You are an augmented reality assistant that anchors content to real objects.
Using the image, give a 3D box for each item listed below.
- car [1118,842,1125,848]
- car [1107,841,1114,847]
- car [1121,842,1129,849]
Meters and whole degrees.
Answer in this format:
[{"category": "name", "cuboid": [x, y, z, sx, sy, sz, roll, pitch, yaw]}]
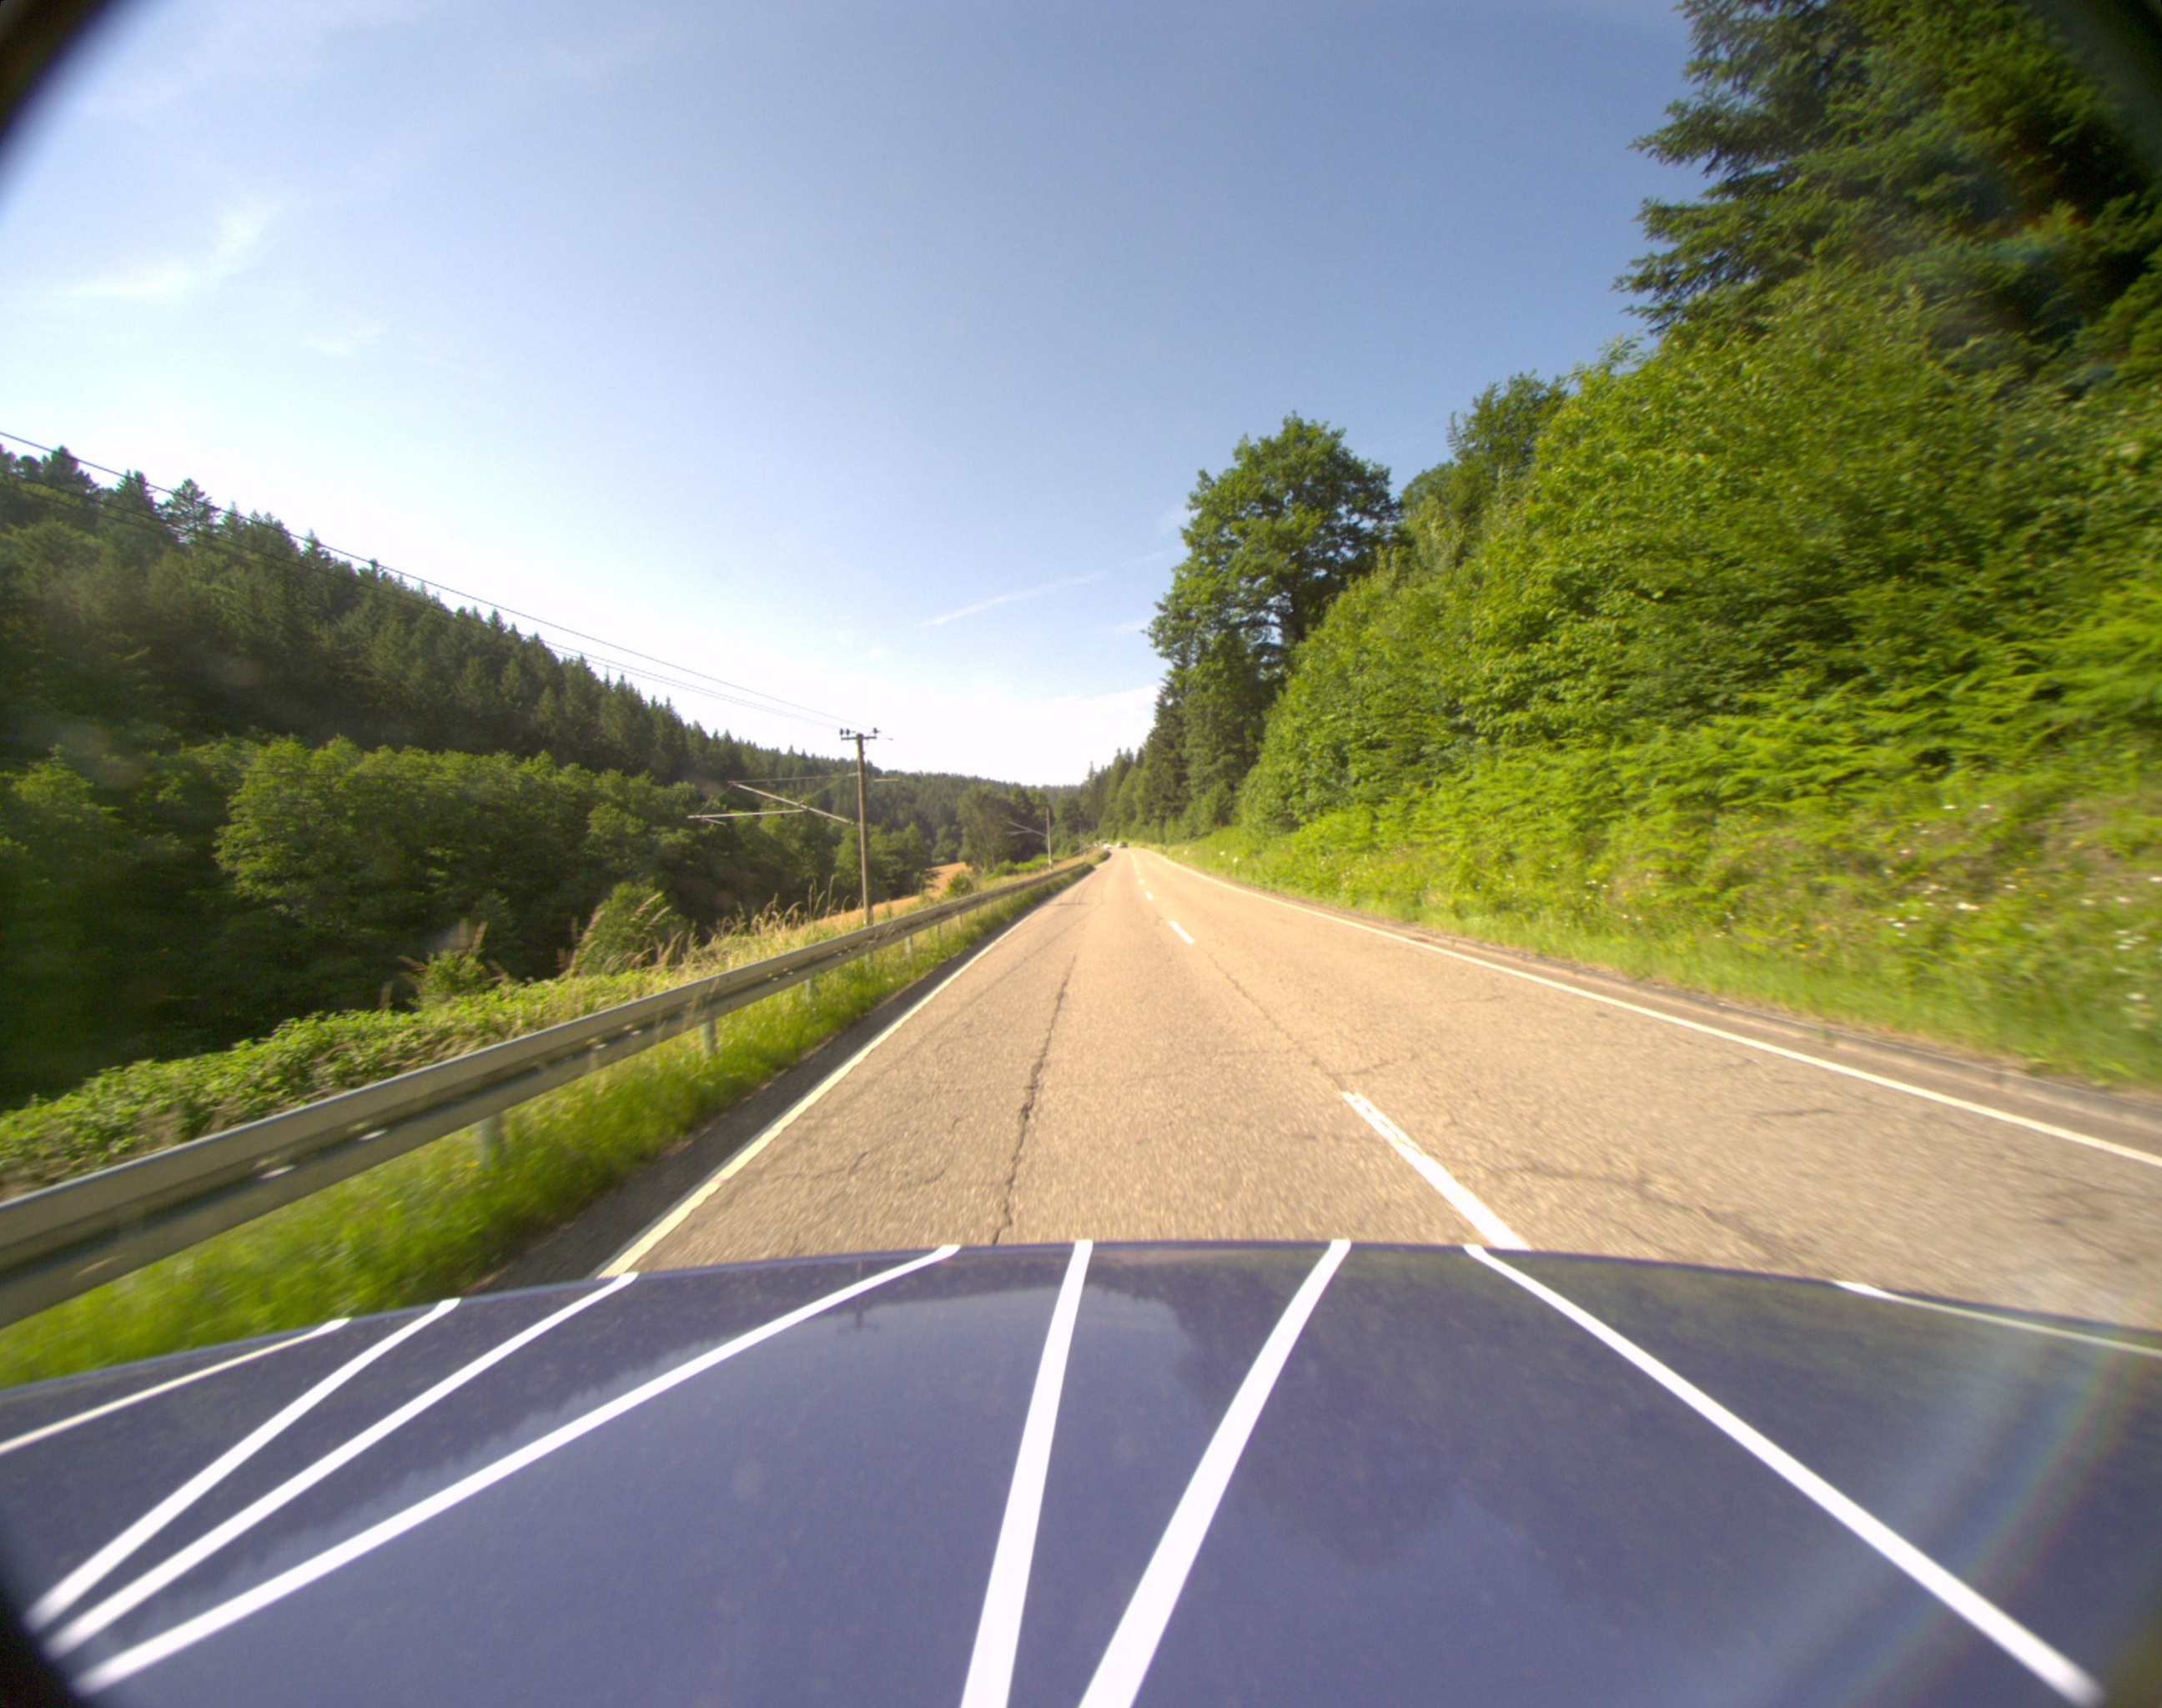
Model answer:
[{"category": "car", "cuboid": [11.325, -2.549, 211.507, 1.798, 1.357, 4.000, -2, 2, 3]}, {"category": "car", "cuboid": [8.135, -2.729, 208.678, 1.702, 1.543, 3.788, -3, 2, 2]}, {"category": "car", "cuboid": [11.298, -2.123, 194.279, 1.840, 1.572, 4.875, -2, 1, 4]}]
